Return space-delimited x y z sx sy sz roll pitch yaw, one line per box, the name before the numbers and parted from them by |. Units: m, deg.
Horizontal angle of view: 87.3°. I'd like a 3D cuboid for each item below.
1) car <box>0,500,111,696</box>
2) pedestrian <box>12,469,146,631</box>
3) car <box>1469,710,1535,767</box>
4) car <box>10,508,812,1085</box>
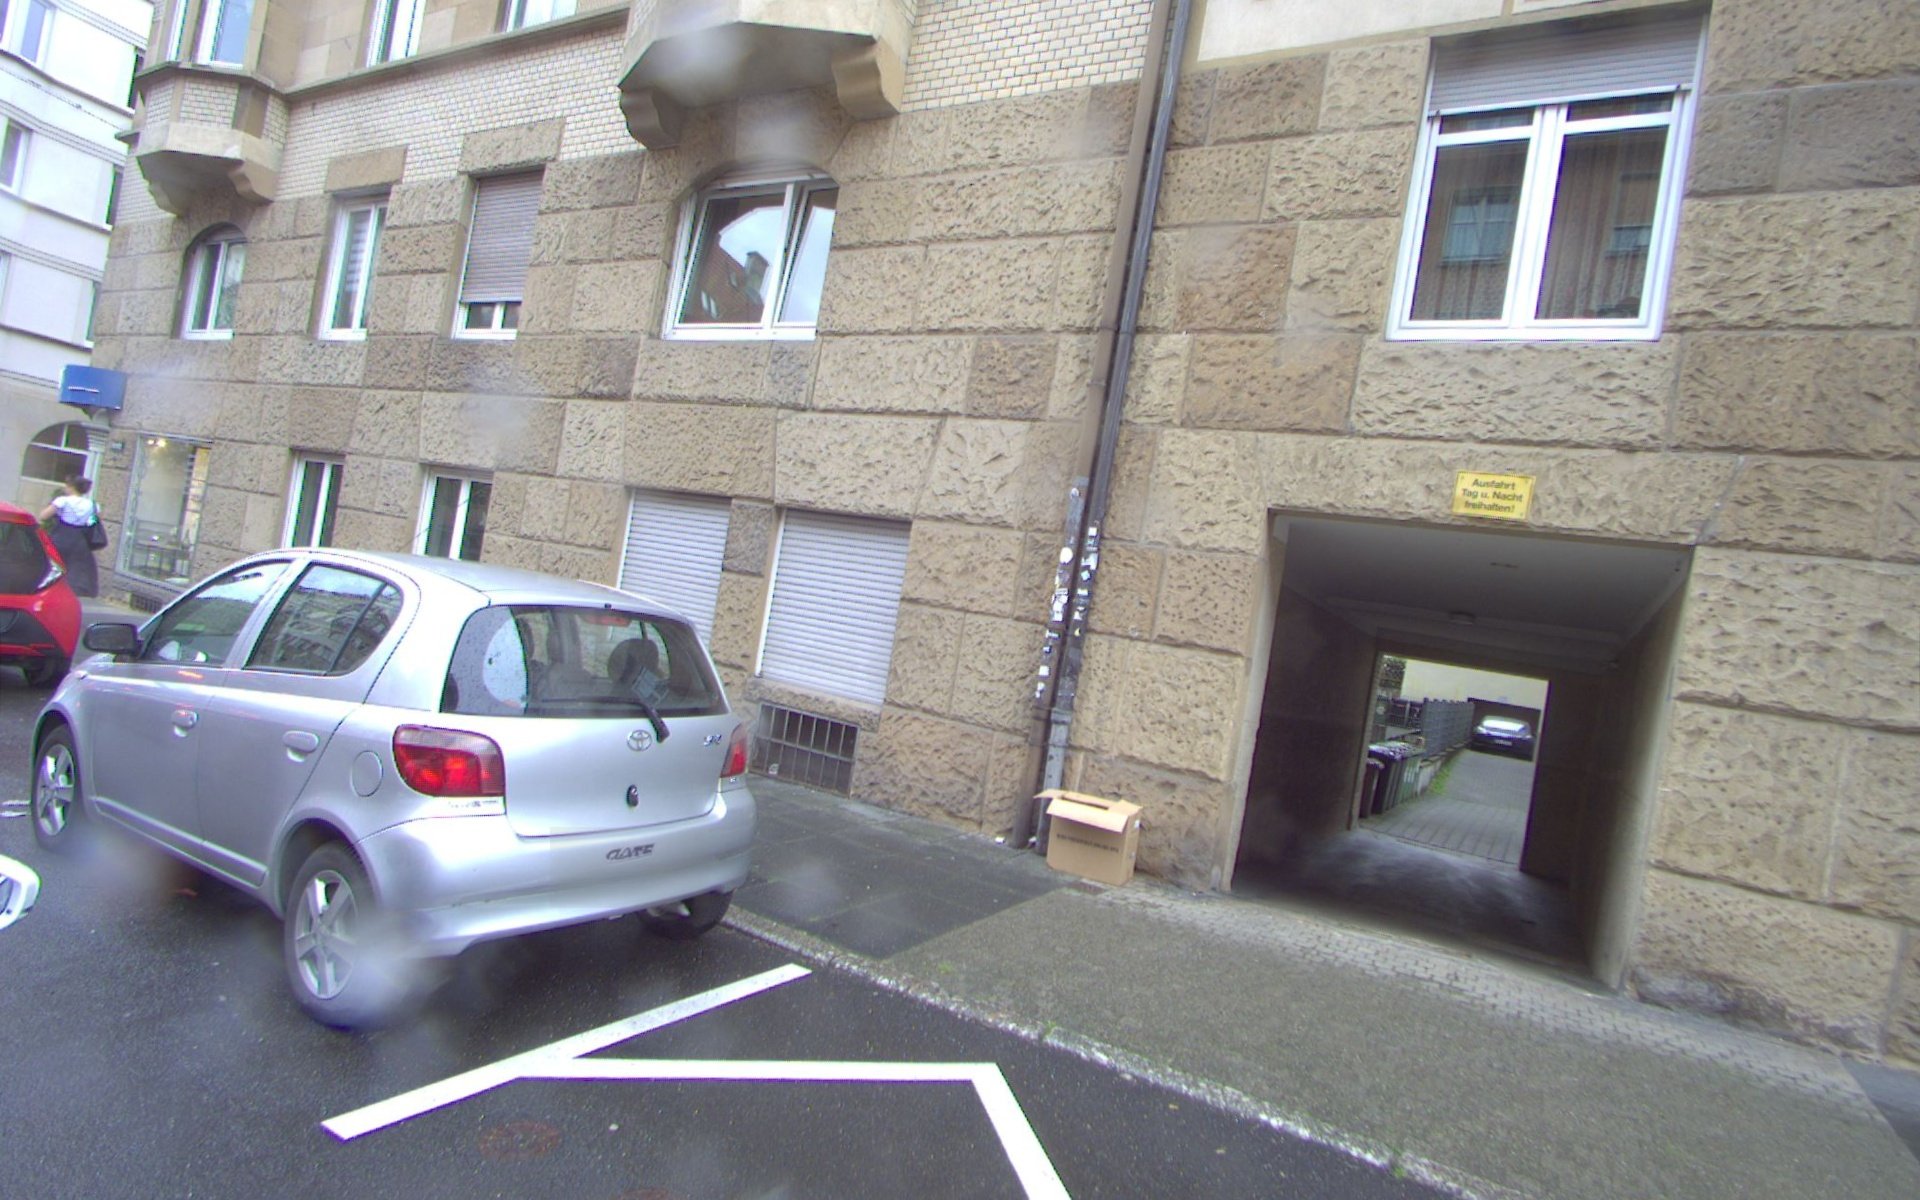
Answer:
car | -8.737 -0.204 8.188 3.243 1.464 1.646 7 -2 29
pedestrian | -10.446 -0.593 11.933 1.093 1.768 0.743 6 -1 32
car | 18.340 4.655 33.954 1.693 1.538 4.102 7 -3 31
car | -2.488 0.542 4.410 3.258 1.485 1.616 7 0 33
